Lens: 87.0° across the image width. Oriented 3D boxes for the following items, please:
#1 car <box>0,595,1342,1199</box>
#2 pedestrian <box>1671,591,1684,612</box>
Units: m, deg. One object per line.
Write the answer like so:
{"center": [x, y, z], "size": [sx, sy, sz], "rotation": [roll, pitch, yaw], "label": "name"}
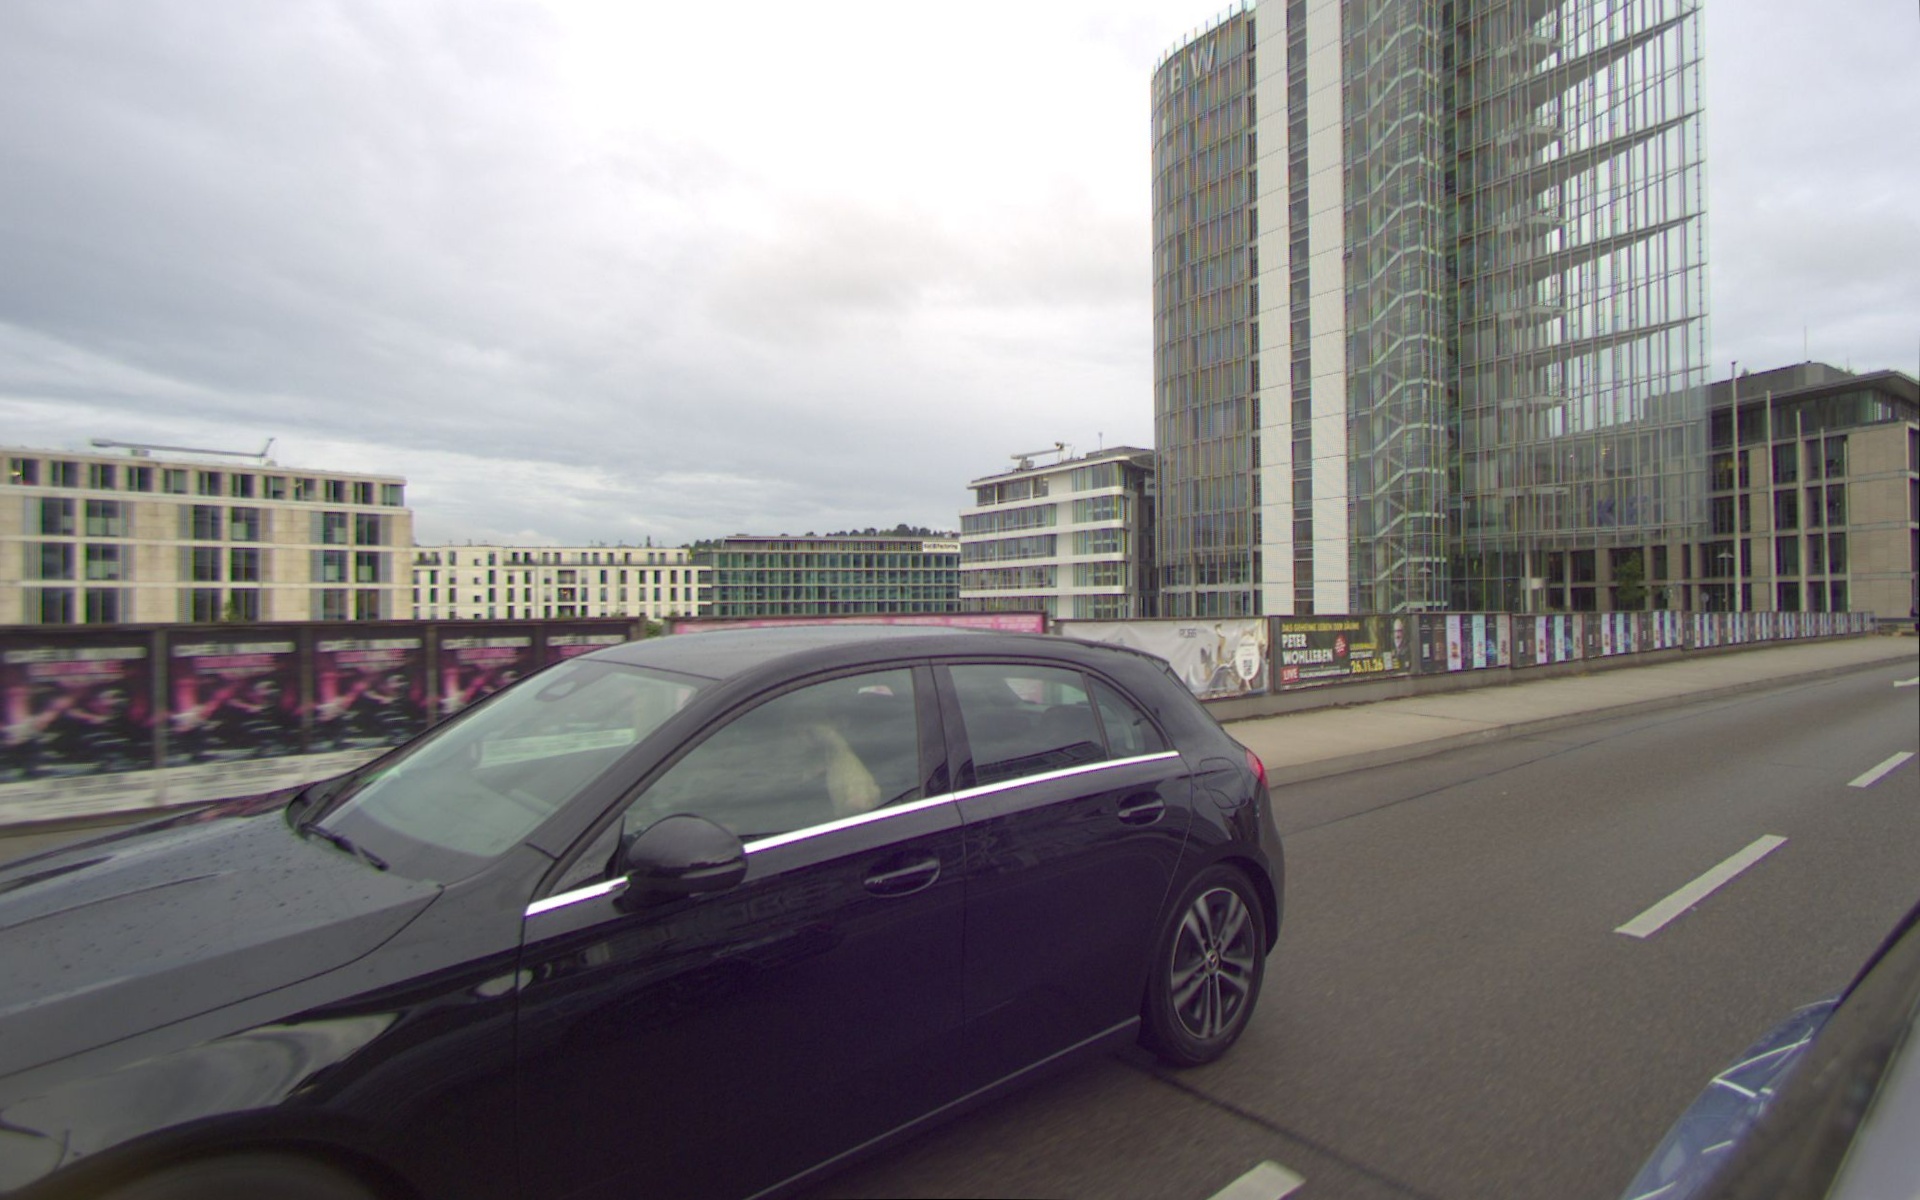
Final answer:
{"center": [-0.711, 0.712, 2.974], "size": [4.083, 1.393, 1.726], "rotation": [-1, 1, -41], "label": "car"}
{"center": [60.639, 0.148, 85.527], "size": [0.621, 1.767, 0.637], "rotation": [-1, 0, -15], "label": "pedestrian"}
